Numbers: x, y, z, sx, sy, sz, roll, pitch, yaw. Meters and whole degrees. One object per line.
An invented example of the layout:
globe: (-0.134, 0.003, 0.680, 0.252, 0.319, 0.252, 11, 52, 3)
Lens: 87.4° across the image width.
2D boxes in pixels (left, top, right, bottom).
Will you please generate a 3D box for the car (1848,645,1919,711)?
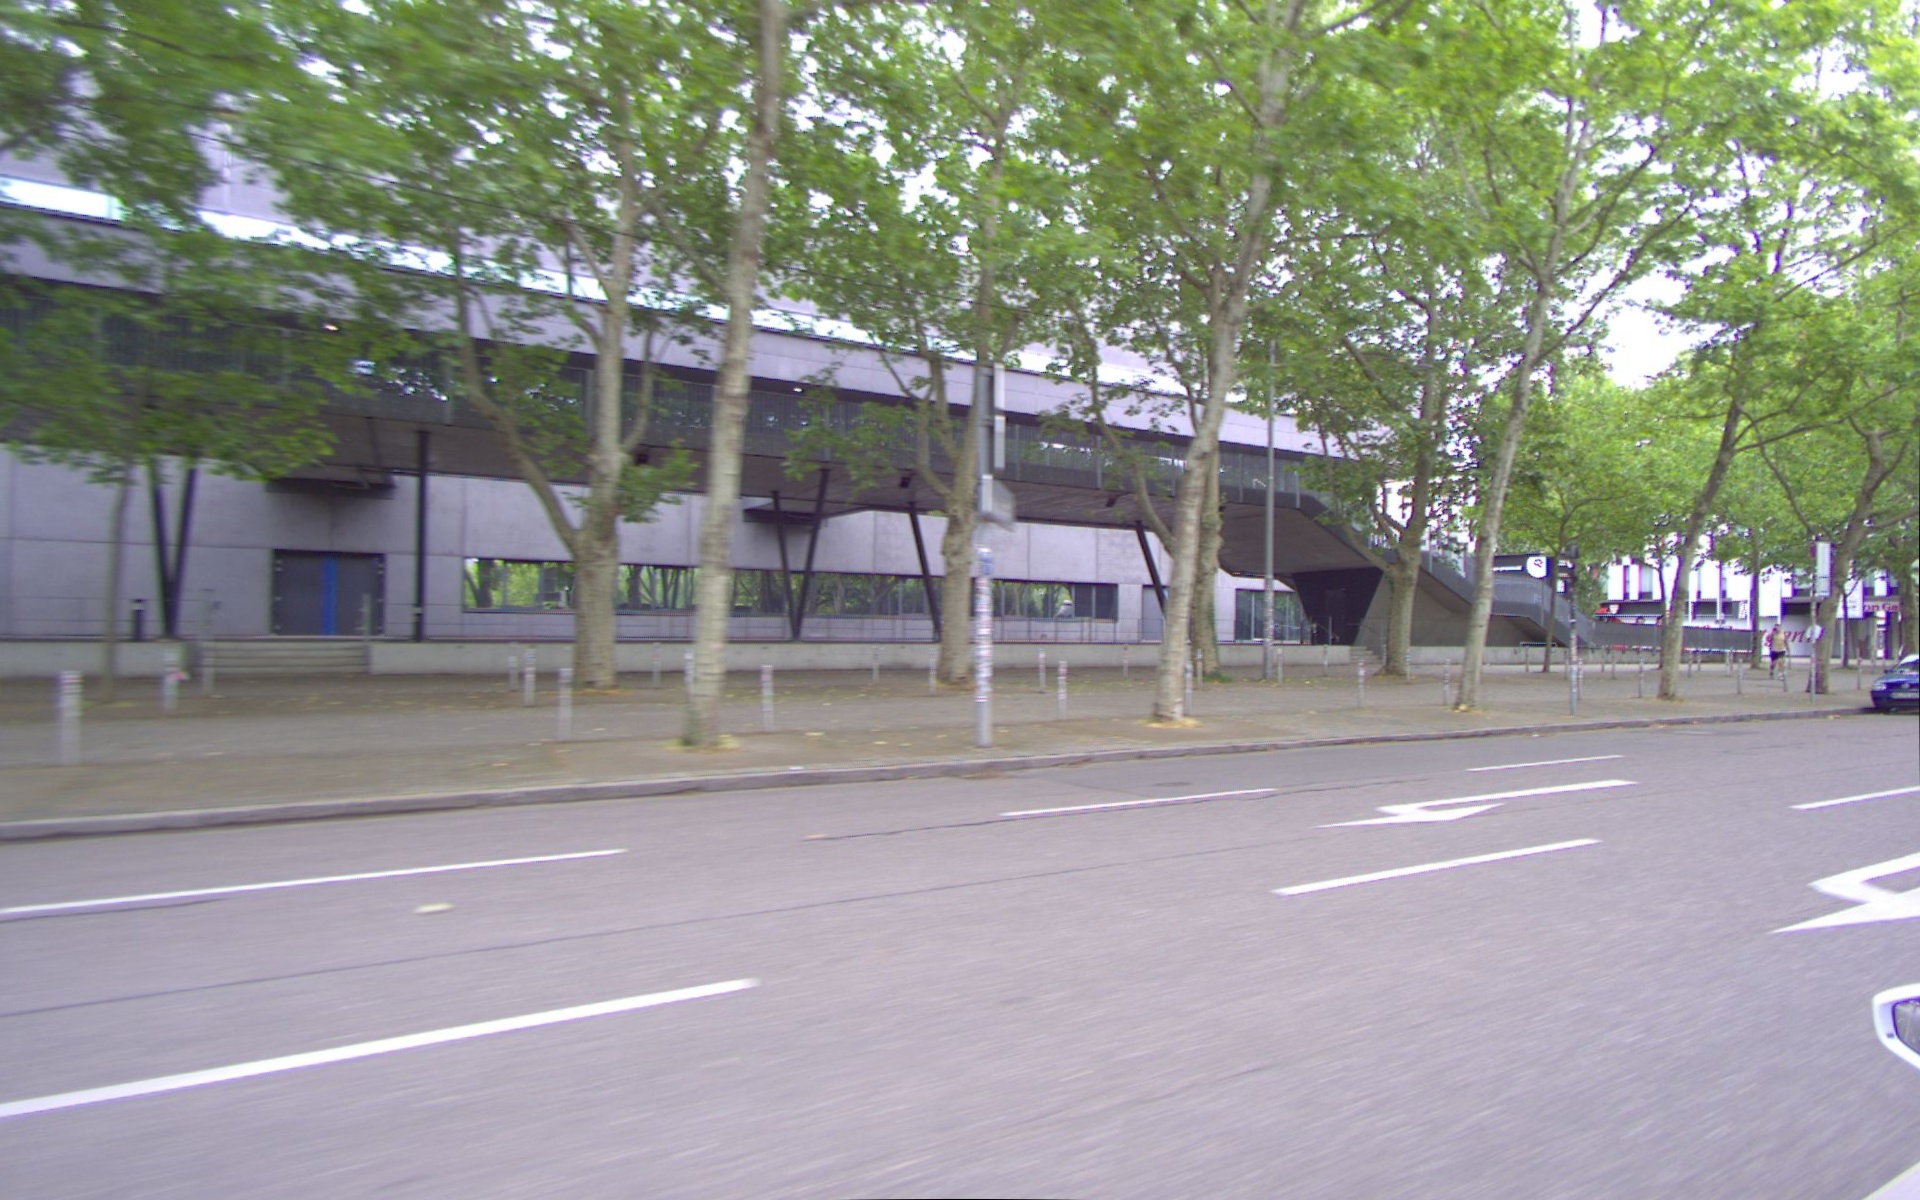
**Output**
car: (22.340, 1.793, 22.957, 3.711, 1.437, 1.691, 2, -5, -25)

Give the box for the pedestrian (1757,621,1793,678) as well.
pedestrian: (27.445, 1.657, 33.825, 0.758, 1.859, 0.878, 0, -1, 26)
